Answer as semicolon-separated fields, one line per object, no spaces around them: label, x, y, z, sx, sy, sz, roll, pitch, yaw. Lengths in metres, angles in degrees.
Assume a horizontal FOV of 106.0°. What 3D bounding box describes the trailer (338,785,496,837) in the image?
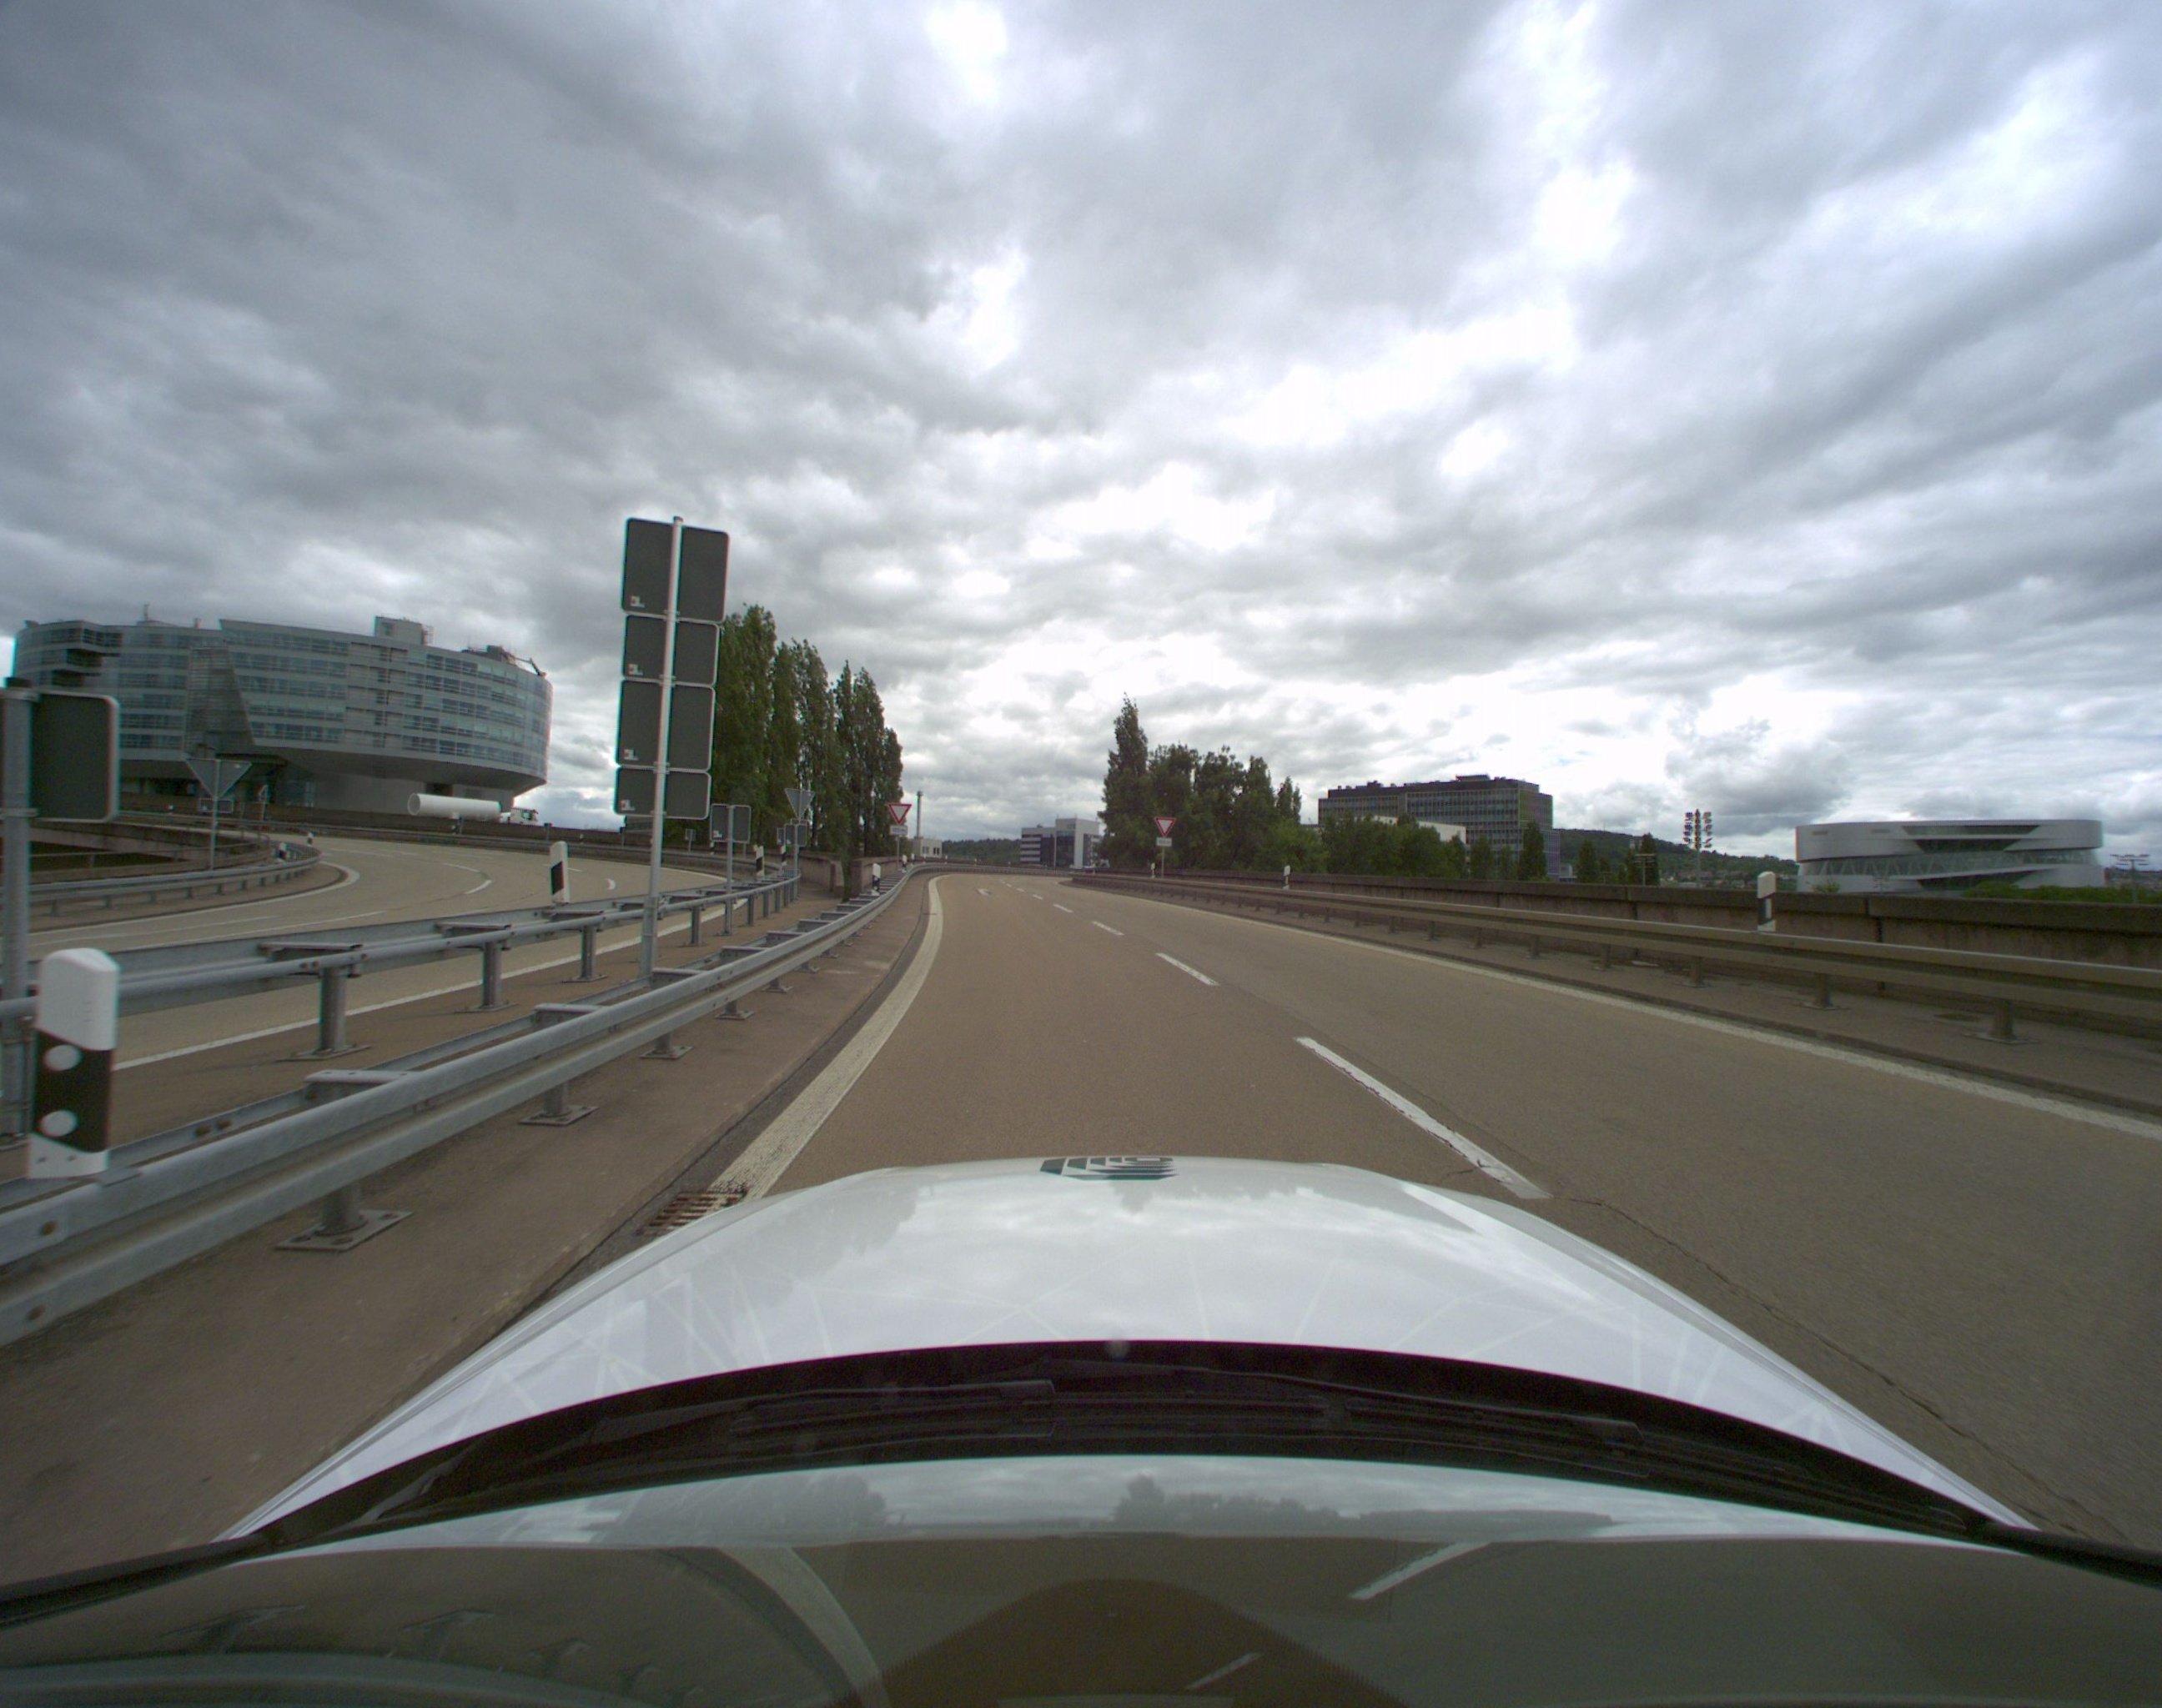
trailer;-62.230;-3.949;76.800;11.205;3.738;2.769;4;-4;-38

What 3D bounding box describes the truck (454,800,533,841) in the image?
truck;-57.866;-3.199;80.245;5.992;3.431;2.746;4;-4;-38

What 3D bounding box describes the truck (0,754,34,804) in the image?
truck;-86.377;-6.033;63.854;4.458;3.691;2.669;4;-4;-37
